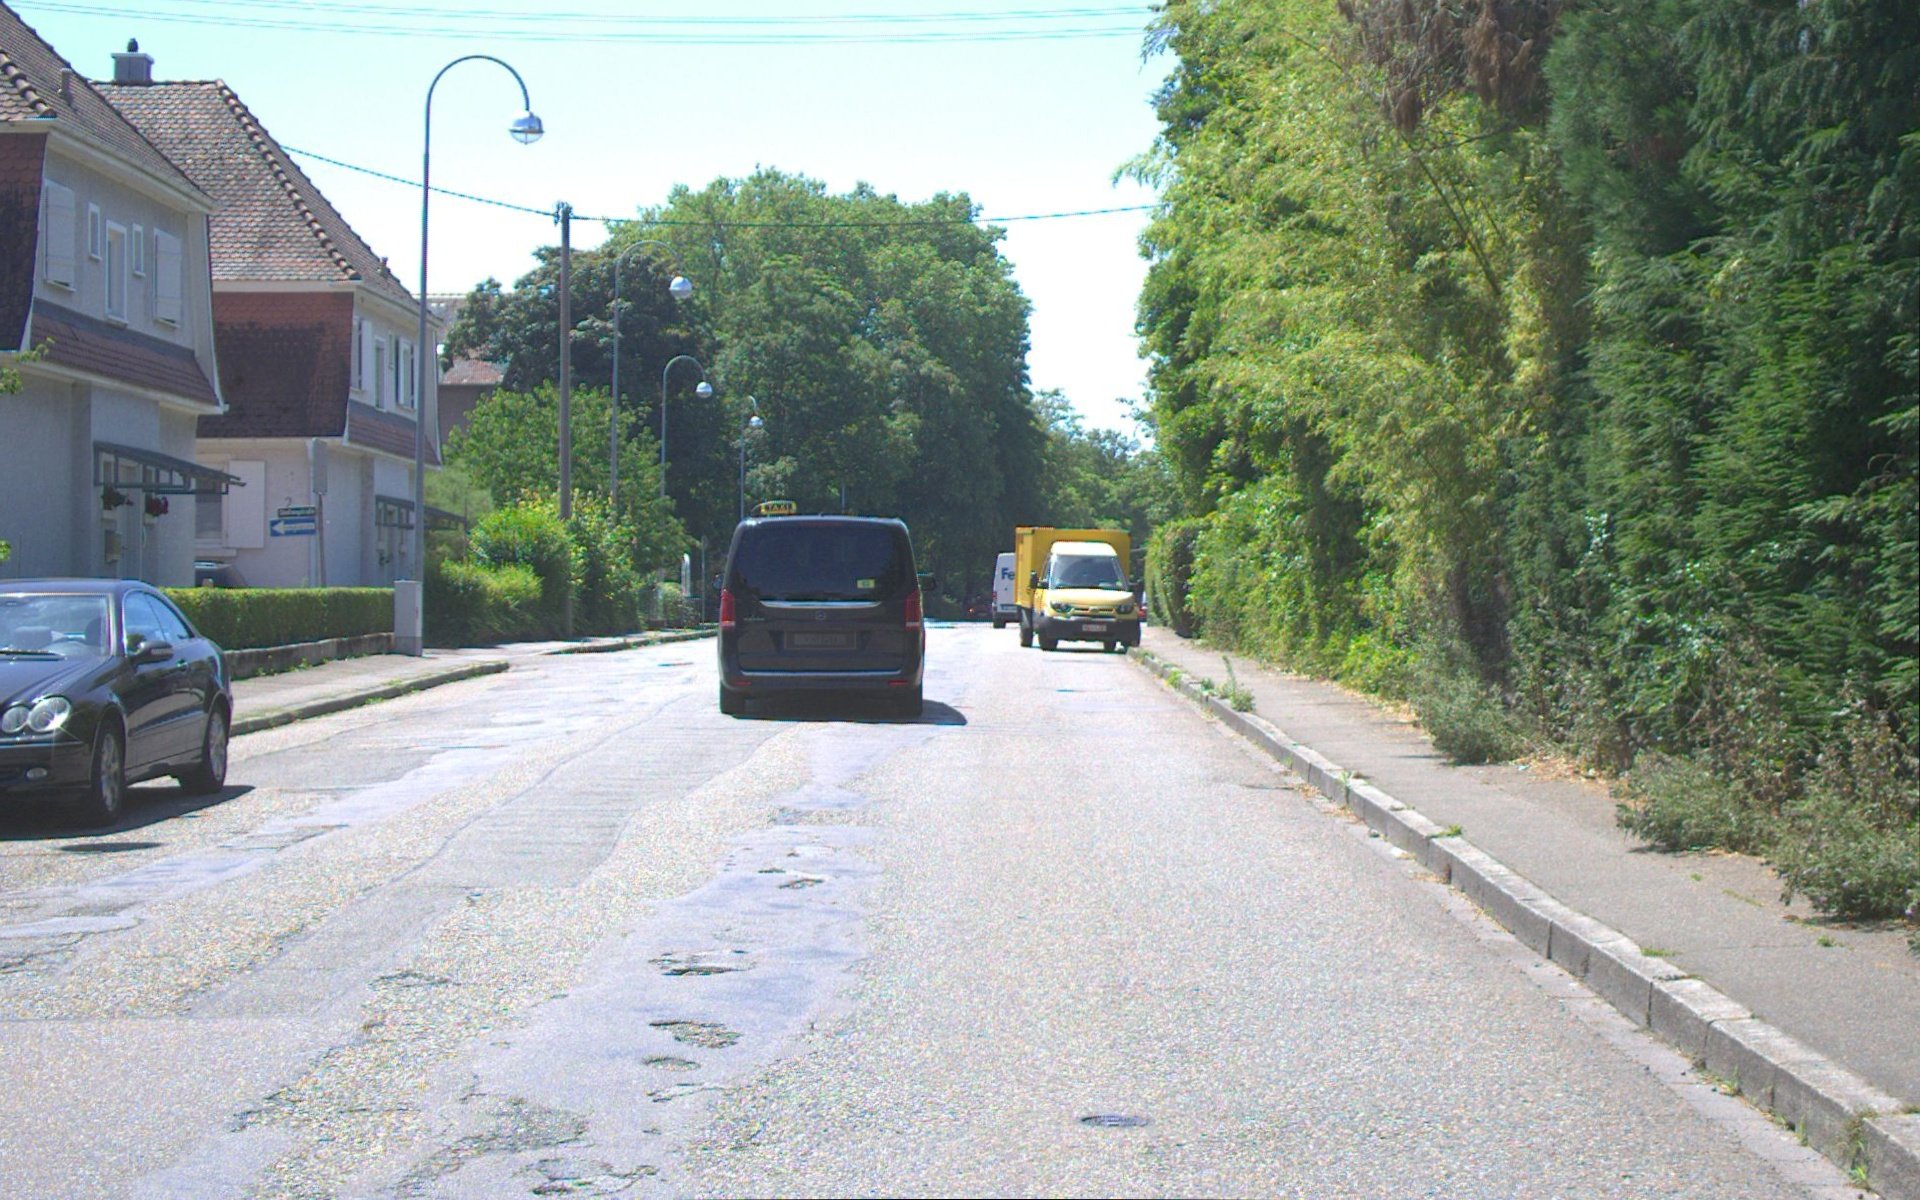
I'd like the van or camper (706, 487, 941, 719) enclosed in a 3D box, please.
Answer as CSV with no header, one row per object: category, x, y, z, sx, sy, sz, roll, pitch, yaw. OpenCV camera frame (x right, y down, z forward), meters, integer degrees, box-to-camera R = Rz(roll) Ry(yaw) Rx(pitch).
van or camper,-1.222,0.015,33.027,1.903,2.007,5.270,1,0,1

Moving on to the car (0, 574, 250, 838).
car,-5.574,0.565,20.533,1.666,1.381,4.380,-1,1,1

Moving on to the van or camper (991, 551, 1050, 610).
van or camper,2.093,-0.662,118.453,1.993,2.007,4.000,0,0,1

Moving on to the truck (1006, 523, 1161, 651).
truck,2.218,-0.236,63.620,2.355,2.251,6.092,0,0,-3

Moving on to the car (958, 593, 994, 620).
car,0.890,0.352,192.674,1.548,1.444,3.004,0,1,10
